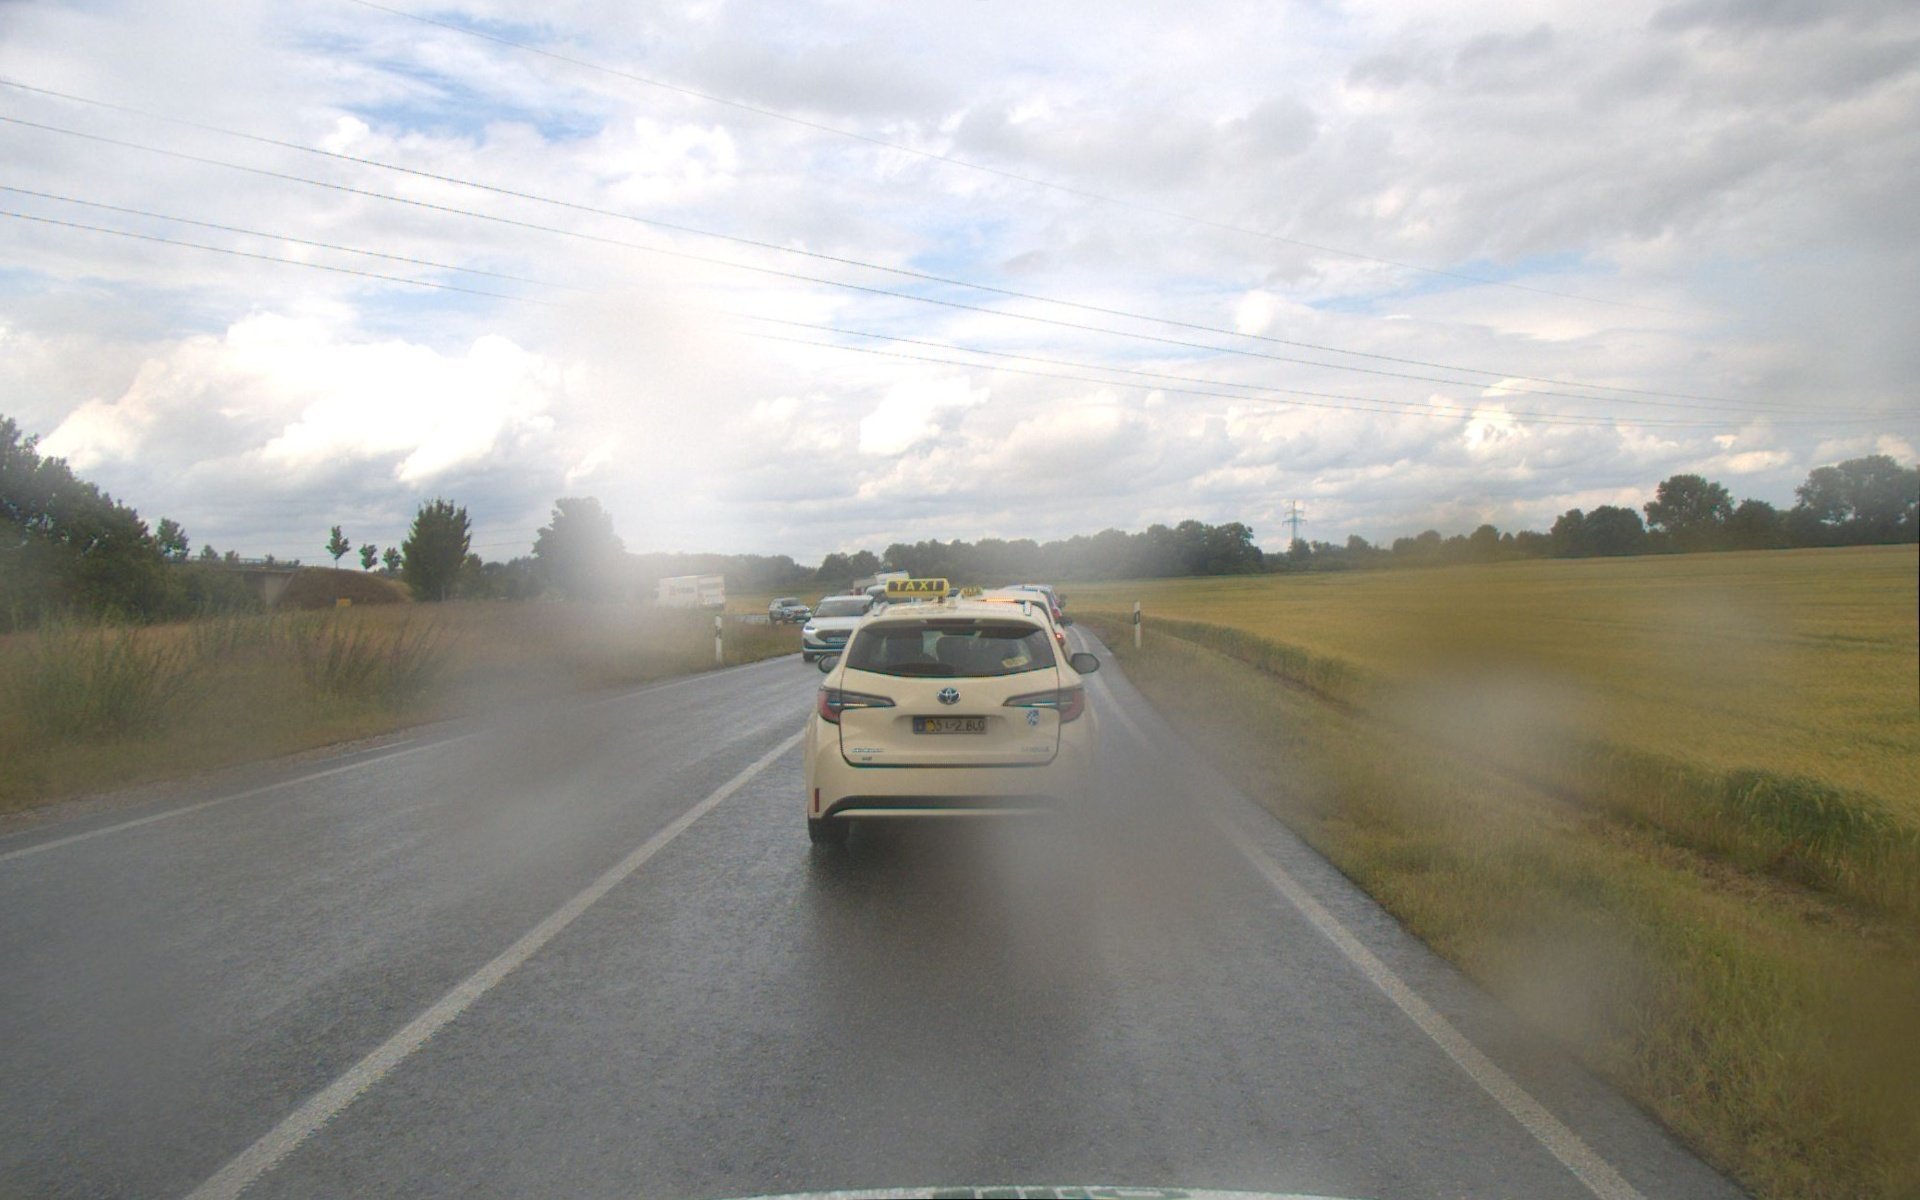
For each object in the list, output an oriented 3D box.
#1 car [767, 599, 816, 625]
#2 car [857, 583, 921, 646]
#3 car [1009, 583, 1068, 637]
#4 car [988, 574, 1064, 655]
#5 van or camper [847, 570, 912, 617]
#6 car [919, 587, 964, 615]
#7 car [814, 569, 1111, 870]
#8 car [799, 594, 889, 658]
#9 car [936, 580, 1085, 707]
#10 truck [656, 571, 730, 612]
[{"bbox_3d":[-11.312,0.816,110.943,1.903,1.660,4.685,-1,0,-24],"label":"car"},{"bbox_3d":[-2.203,0.447,52.485,1.806,1.888,4.446,1,0,0],"label":"car"},{"bbox_3d":[2.191,0.319,46.497,1.579,1.438,3.739,1,-1,2],"label":"car"},{"bbox_3d":[1.429,0.339,36.312,1.579,1.688,3.739,1,-1,2],"label":"car"},{"bbox_3d":[-5.325,-0.431,108.489,2.498,2.946,6.705,0,0,-19],"label":"van or camper"},{"bbox_3d":[-1.049,0.070,91.530,1.752,1.438,3.727,1,-1,-12],"label":"car"},{"bbox_3d":[0.134,0.672,10.735,1.579,1.590,3.740,1,-1,4],"label":"car"},{"bbox_3d":[-2.679,0.592,39.095,1.806,1.412,4.287,1,0,0],"label":"car"},{"bbox_3d":[0.661,0.526,22.393,1.803,1.518,4.608,1,0,1],"label":"car"},{"bbox_3d":[-22.550,-0.691,139.363,2.988,3.266,8.130,2,-1,-35],"label":"truck"}]
